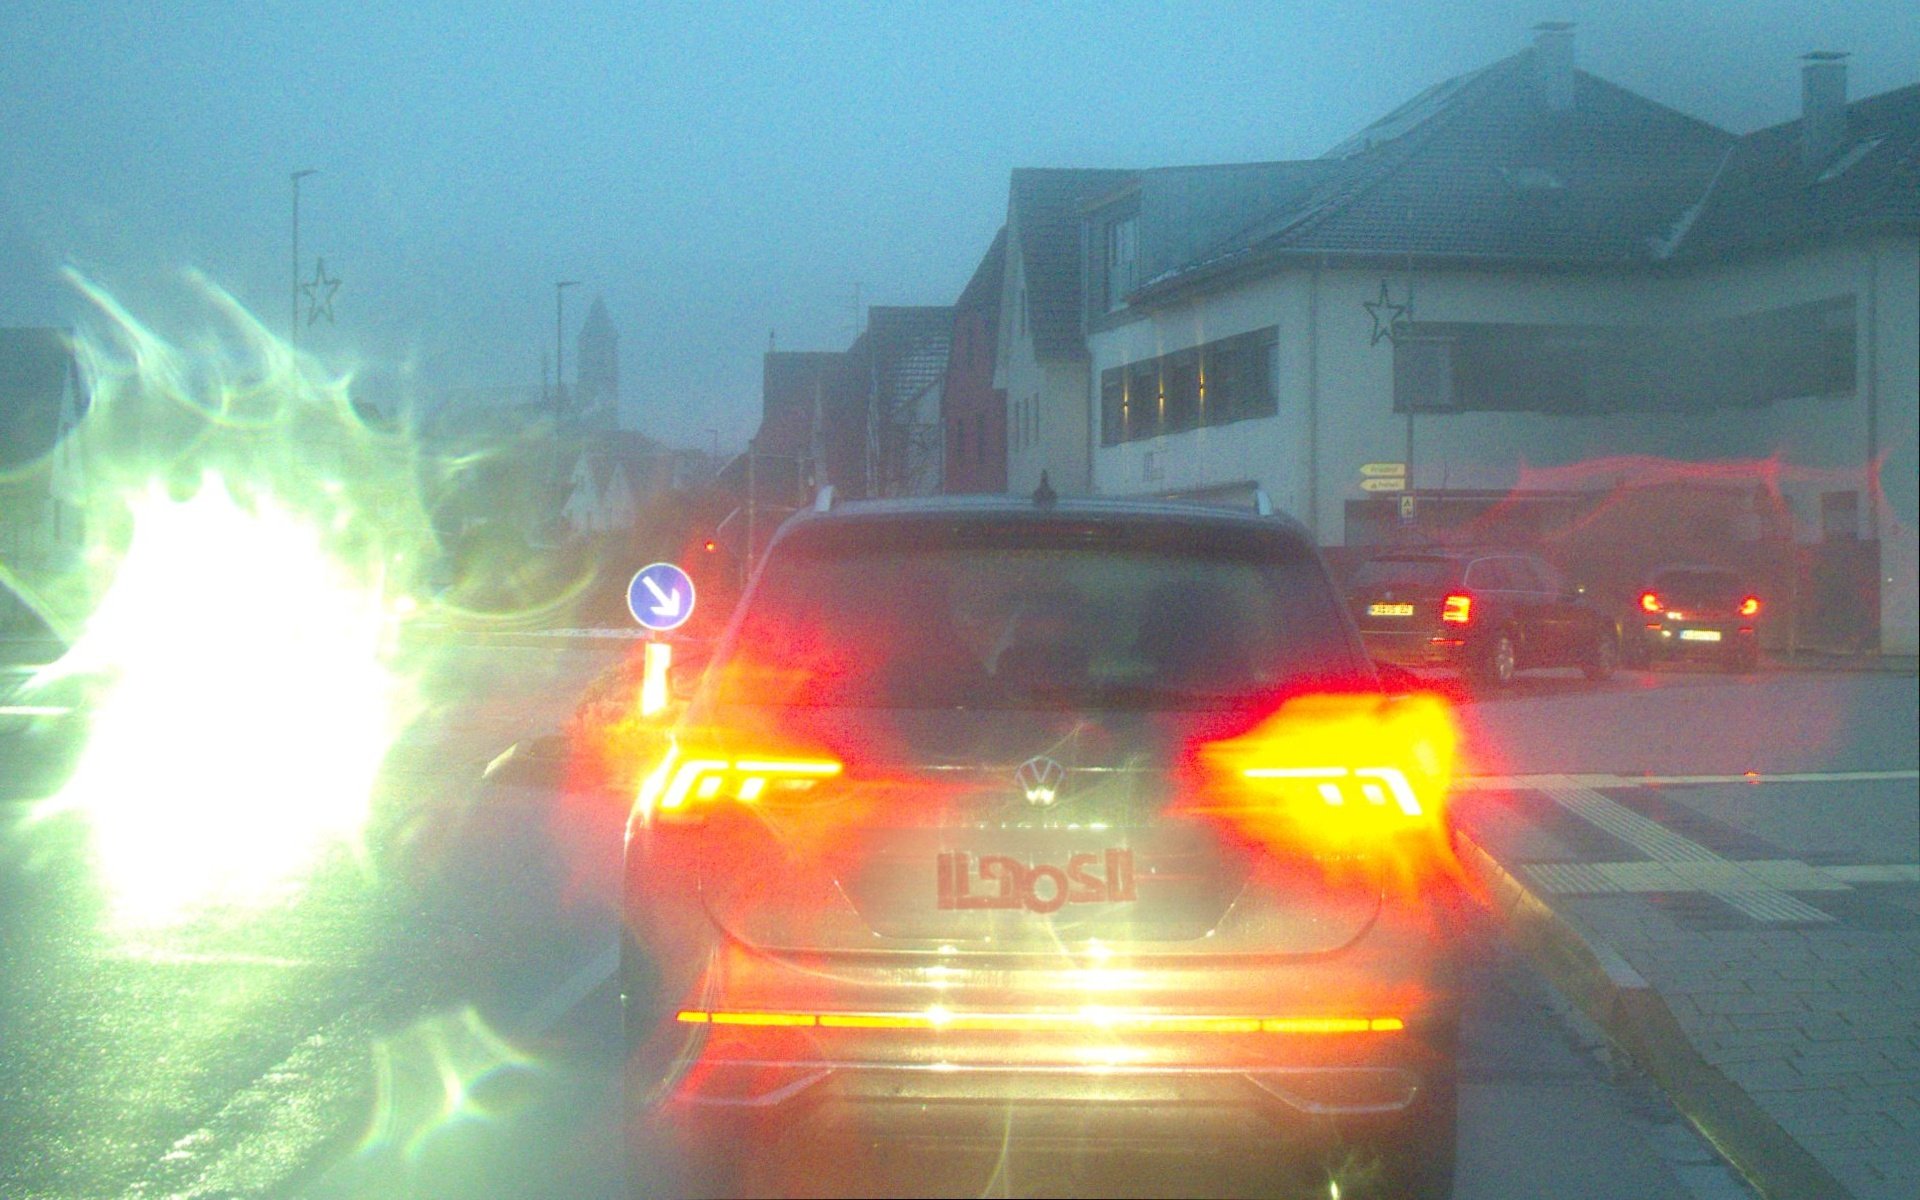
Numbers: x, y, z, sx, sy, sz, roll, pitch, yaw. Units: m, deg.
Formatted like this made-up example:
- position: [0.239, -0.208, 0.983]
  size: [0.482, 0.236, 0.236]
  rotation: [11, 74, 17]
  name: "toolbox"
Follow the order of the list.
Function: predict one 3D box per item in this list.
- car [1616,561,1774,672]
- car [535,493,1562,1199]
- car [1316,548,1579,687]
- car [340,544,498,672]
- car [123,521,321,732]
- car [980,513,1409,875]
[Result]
- position: [10.066, 0.222, 47.312]
  size: [1.994, 1.413, 3.998]
  rotation: [-1, 0, 11]
  name: "car"
- position: [0.160, 0.567, 8.837]
  size: [1.964, 1.589, 4.313]
  rotation: [1, 1, 0]
  name: "car"
- position: [5.349, 0.157, 37.327]
  size: [1.995, 1.387, 3.996]
  rotation: [0, 1, 21]
  name: "car"
- position: [-9.106, 0.180, 58.159]
  size: [1.993, 2.007, 4.000]
  rotation: [2, -1, -1]
  name: "car"
- position: [-8.357, 0.267, 38.842]
  size: [1.993, 2.196, 4.419]
  rotation: [2, 0, -13]
  name: "car"
- position: [0.968, 0.346, 16.022]
  size: [1.682, 1.448, 4.000]
  rotation: [1, 1, 0]
  name: "car"
